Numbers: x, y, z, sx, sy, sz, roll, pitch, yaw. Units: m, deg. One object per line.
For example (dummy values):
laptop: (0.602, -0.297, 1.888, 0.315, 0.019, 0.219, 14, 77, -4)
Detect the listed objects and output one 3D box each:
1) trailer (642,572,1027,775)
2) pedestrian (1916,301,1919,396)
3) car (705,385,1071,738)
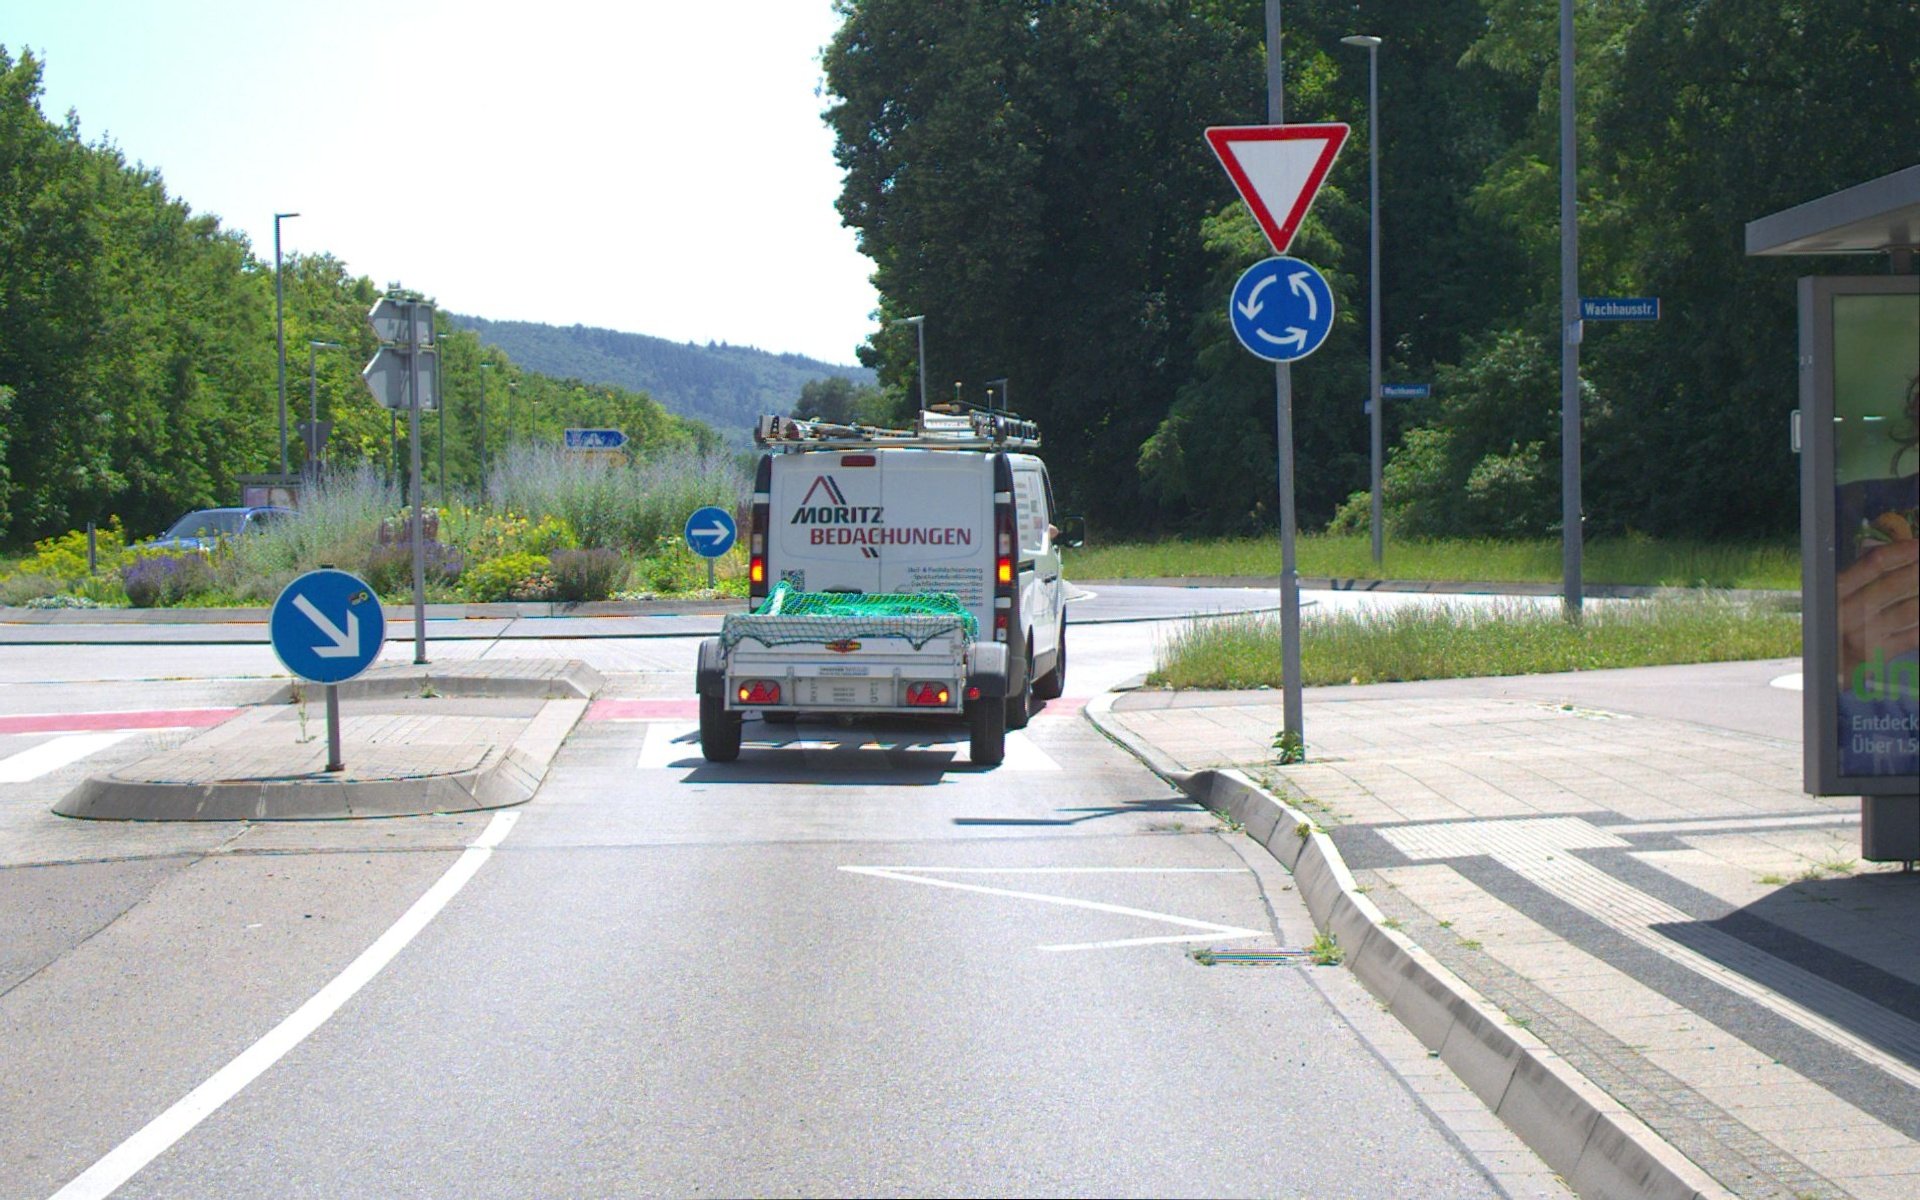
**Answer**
trailer: (-0.674, 0.399, 20.989, 2.121, 1.093, 3.355, 0, 1, 2)
pedestrian: (2.845, 0.138, 8.359, 0.708, 1.816, 0.826, -3, 1, -2)
car: (-0.399, -0.303, 25.101, 2.166, 2.308, 4.981, 0, 1, 5)
